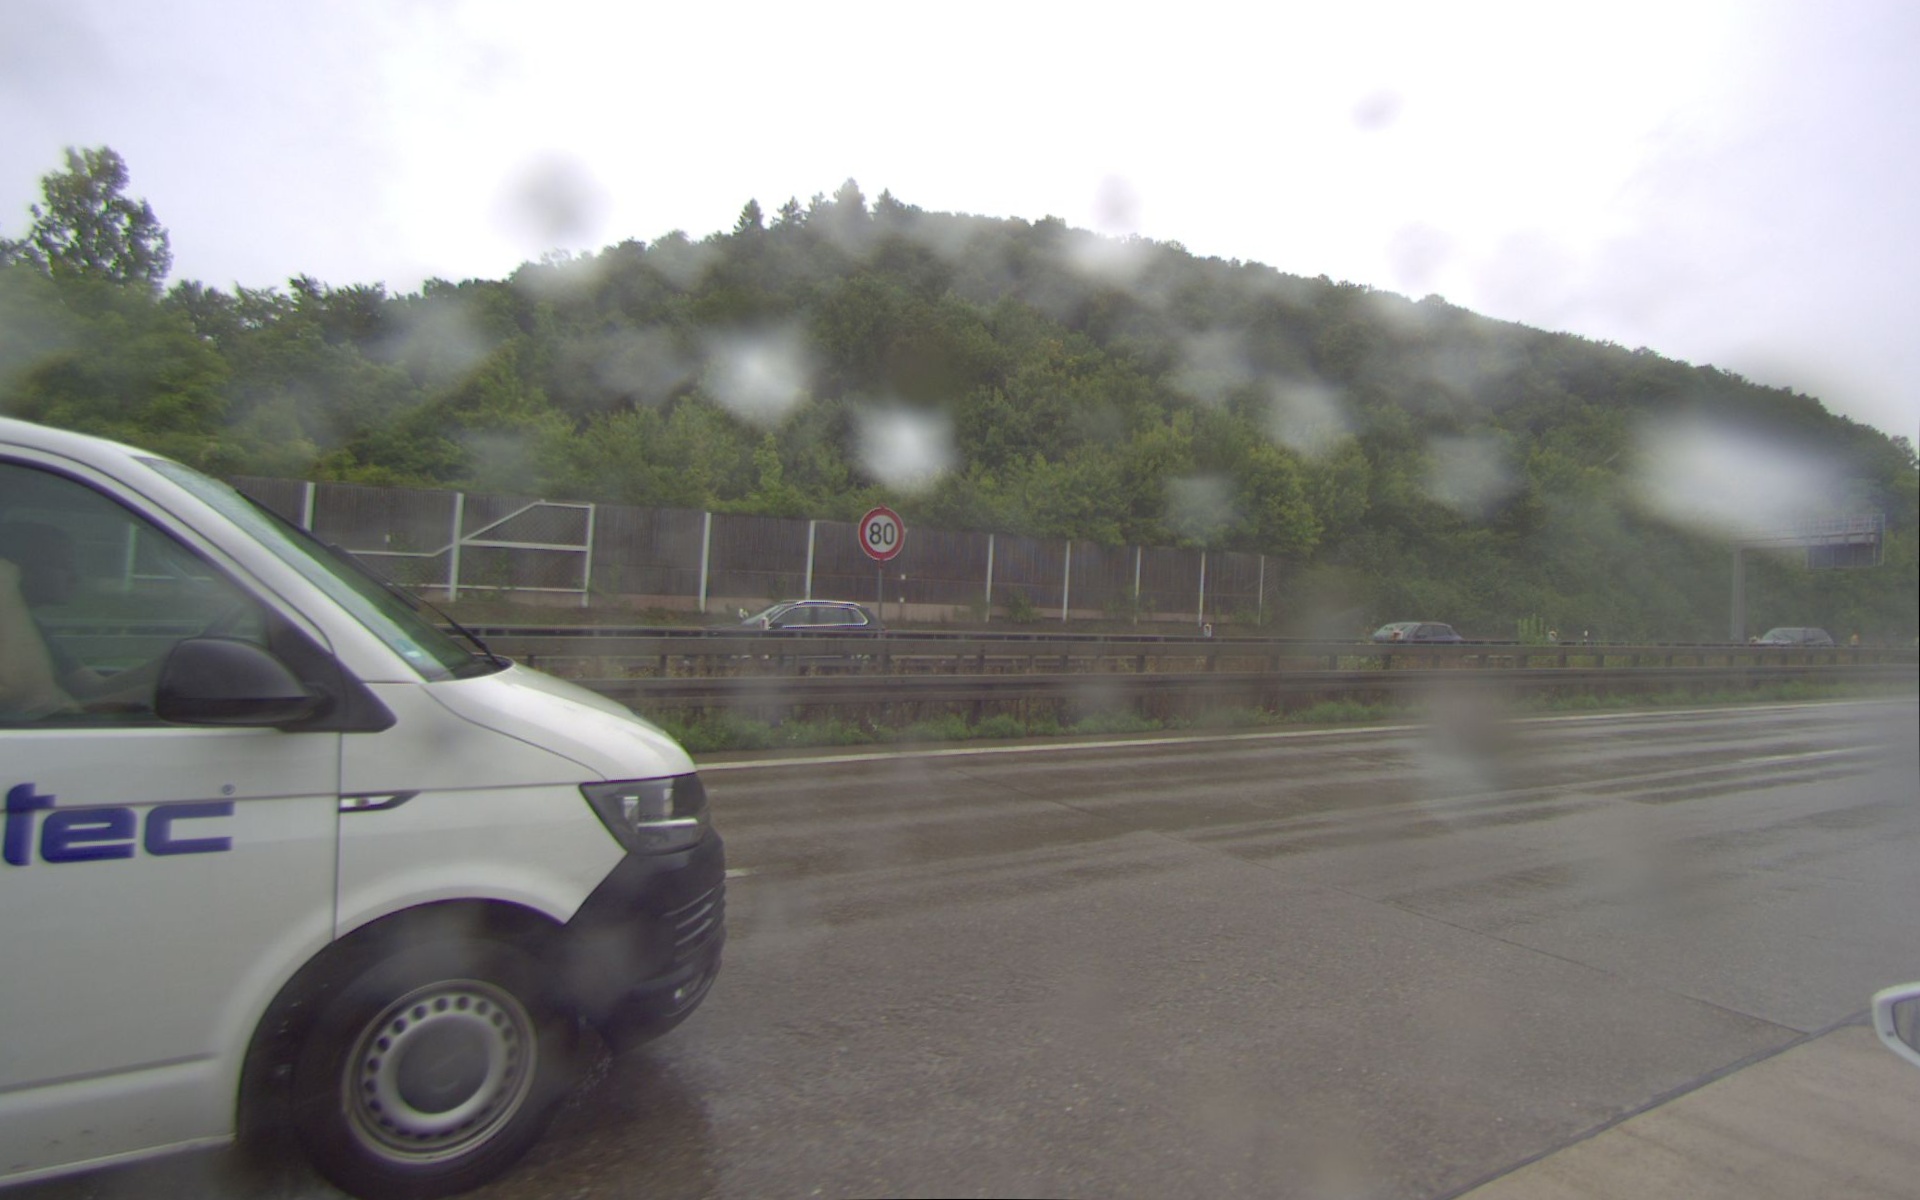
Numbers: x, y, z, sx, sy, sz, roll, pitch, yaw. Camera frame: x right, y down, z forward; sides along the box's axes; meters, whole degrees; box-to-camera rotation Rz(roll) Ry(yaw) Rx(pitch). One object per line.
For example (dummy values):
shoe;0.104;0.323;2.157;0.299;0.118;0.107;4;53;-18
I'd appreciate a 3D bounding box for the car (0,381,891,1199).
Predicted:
car;-2.833;0.511;2.561;4.983;1.919;1.890;1;0;-30

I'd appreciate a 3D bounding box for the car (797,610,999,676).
car;-1.393;0.967;23.112;4.294;1.321;1.743;2;1;-31
